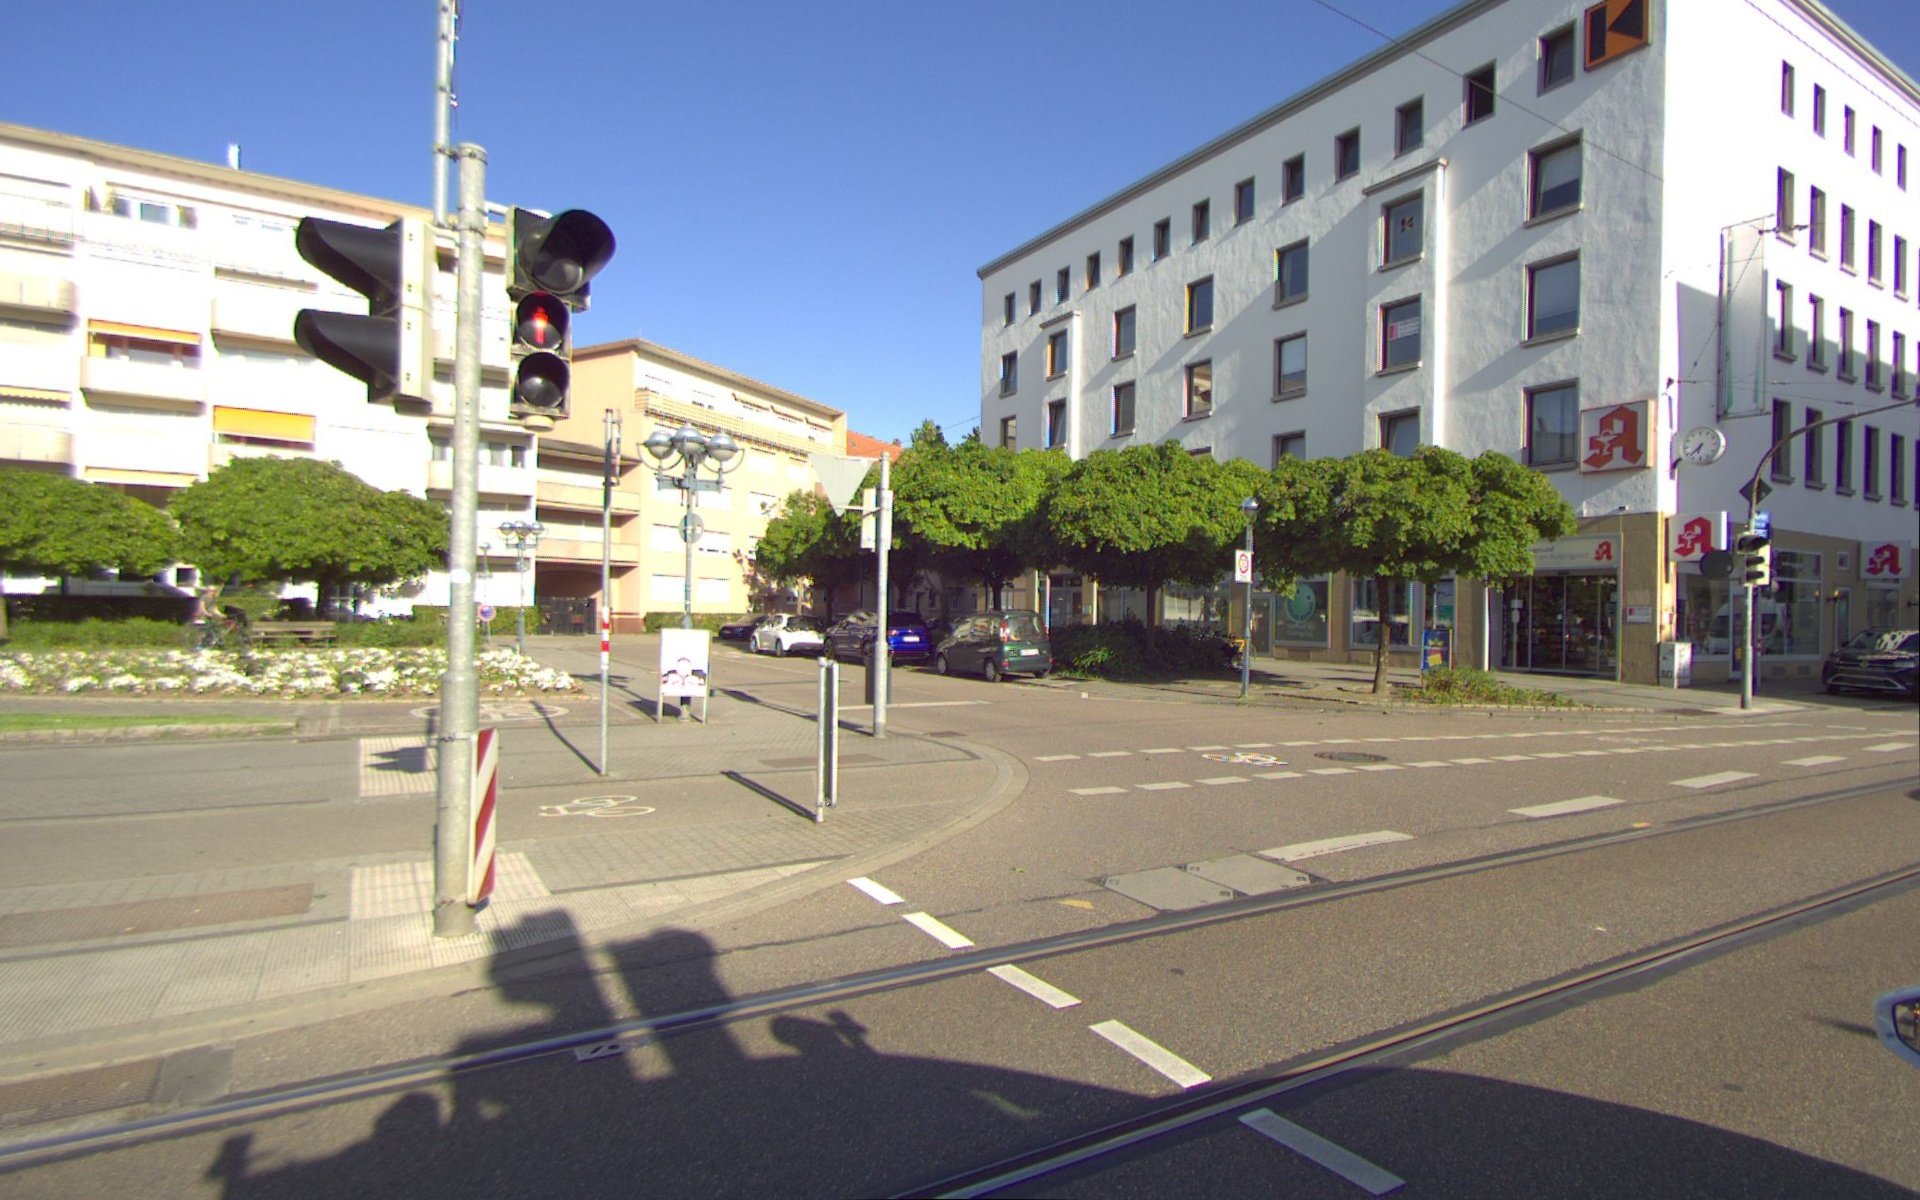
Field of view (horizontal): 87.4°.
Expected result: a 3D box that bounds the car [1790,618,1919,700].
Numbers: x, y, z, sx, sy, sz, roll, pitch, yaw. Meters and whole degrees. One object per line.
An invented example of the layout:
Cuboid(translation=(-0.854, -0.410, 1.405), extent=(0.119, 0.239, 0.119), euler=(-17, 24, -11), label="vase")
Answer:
Cuboid(translation=(21.105, 1.308, 22.927), extent=(4.354, 1.590, 1.982), euler=(2, 2, -32), label="car")

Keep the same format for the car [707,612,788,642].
Cuboid(translation=(-11.511, 1.461, 54.741), extent=(1.886, 1.514, 4.344), euler=(2, 0, 30), label="car")

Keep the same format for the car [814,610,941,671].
Cuboid(translation=(-2.617, 1.190, 30.777), extent=(1.978, 1.684, 4.580), euler=(1, -1, -32), label="car")

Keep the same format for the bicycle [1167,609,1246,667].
Cuboid(translation=(7.177, 1.090, 29.193), extent=(2.592, 1.628, 0.614), euler=(1, -1, -33), label="bicycle")

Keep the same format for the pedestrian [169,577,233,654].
Cuboid(translation=(-20.766, 0.426, 27.511), extent=(1.219, 2.040, 1.214), euler=(1, -1, -31), label="pedestrian")

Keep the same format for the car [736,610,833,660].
Cuboid(translation=(-6.331, 1.211, 35.895), extent=(1.835, 1.628, 4.580), euler=(1, -1, -32), label="car")

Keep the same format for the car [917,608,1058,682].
Cuboid(translation=(0.626, 1.090, 25.816), extent=(1.804, 1.728, 3.967), euler=(1, -1, -30), label="car")

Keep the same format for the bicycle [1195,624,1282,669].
Cuboid(translation=(7.753, 1.290, 27.894), extent=(2.587, 1.206, 0.615), euler=(1, -1, -28), label="bicycle")

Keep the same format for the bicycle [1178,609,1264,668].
Cuboid(translation=(7.423, 1.095, 28.535), extent=(2.586, 1.628, 0.616), euler=(1, -1, -27), label="bicycle")

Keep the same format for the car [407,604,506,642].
Cuboid(translation=(-19.031, 0.858, 37.996), extent=(3.271, 1.372, 1.637), euler=(1, -1, -29), label="car")
